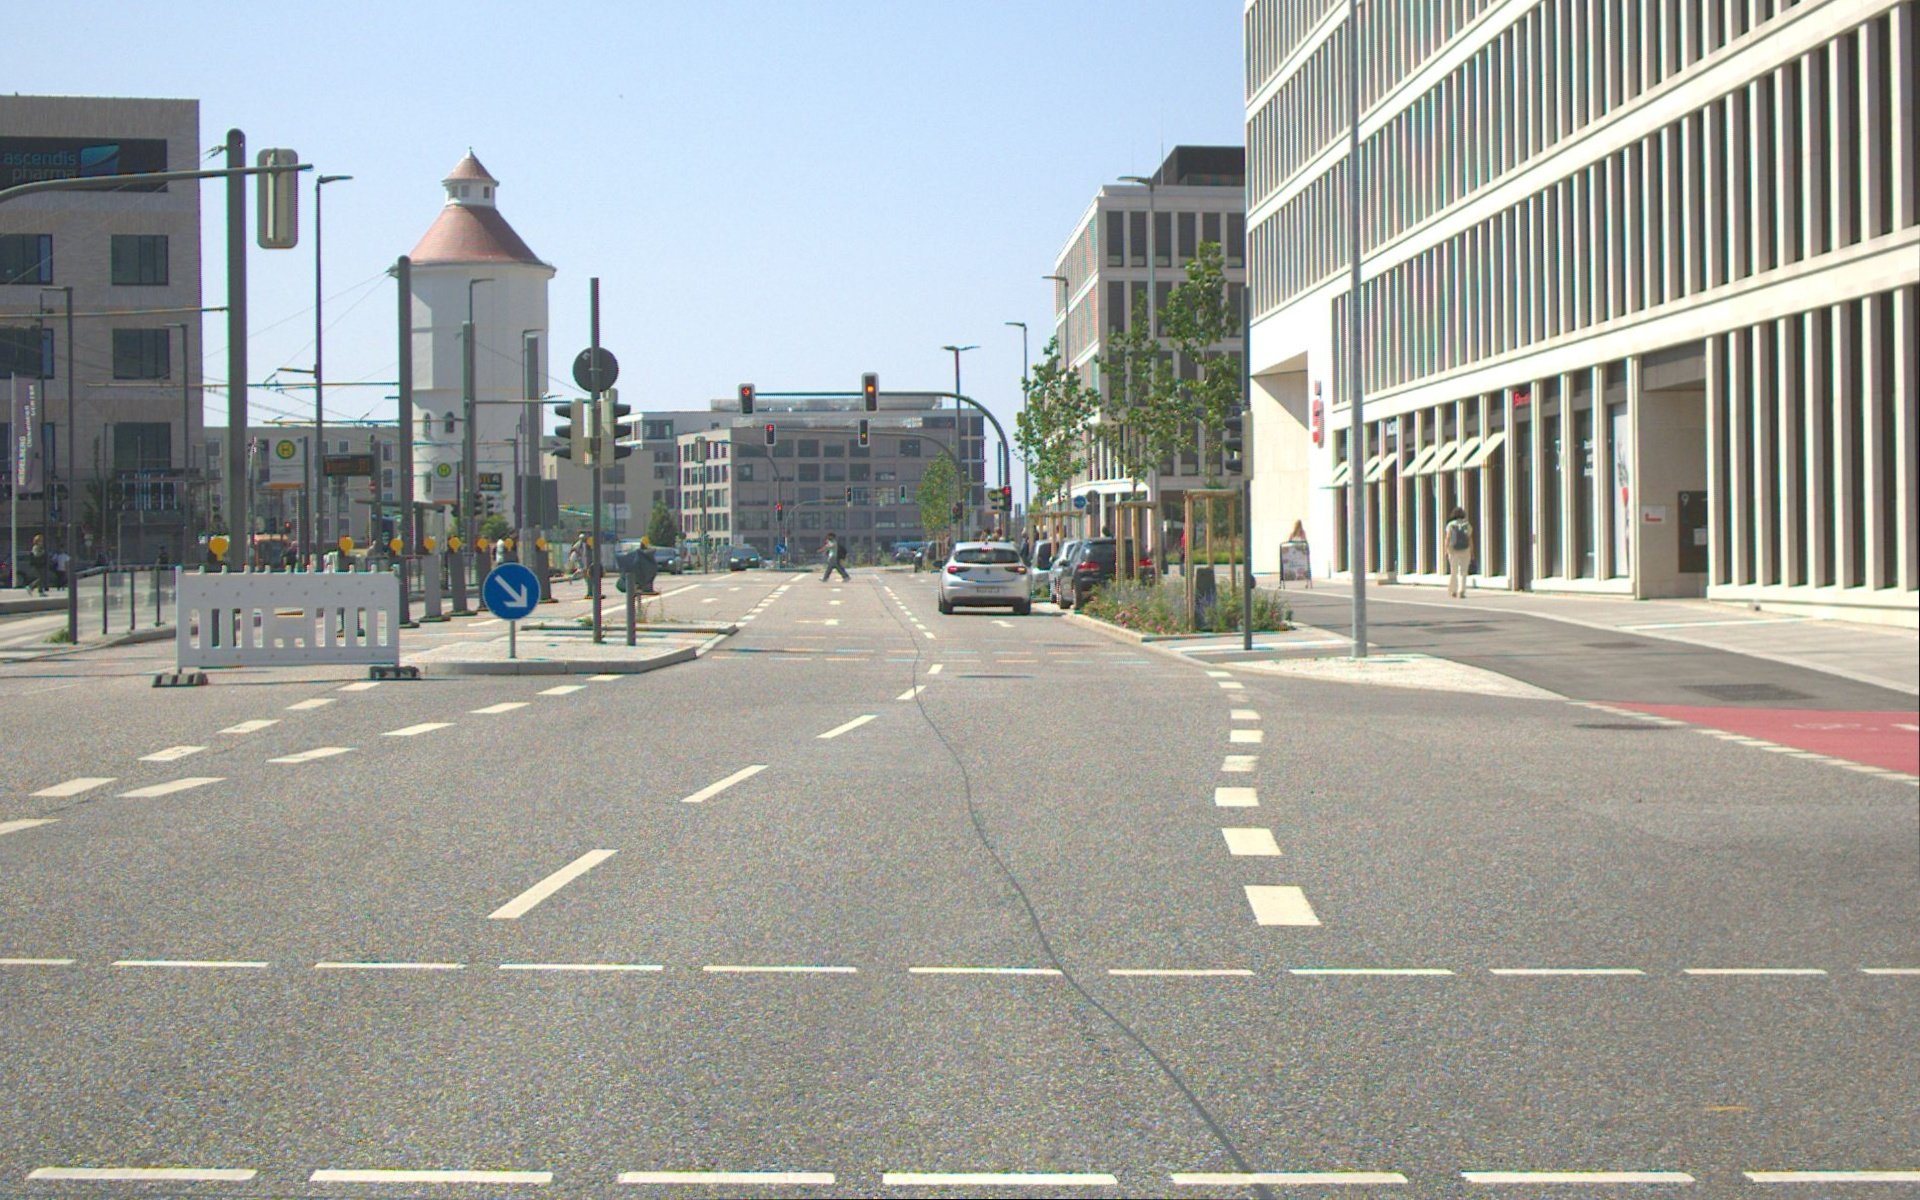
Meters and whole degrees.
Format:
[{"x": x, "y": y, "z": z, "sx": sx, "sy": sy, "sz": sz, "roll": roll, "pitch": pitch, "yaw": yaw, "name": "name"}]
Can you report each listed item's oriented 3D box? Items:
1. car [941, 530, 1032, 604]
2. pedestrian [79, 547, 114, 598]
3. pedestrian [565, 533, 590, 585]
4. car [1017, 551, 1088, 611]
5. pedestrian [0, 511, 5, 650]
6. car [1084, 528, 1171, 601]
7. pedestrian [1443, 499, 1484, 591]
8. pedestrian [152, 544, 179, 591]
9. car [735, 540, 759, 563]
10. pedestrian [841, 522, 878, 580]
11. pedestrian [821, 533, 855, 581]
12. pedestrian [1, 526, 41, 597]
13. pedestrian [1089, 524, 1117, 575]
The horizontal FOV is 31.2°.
[{"x": 0.523, "y": -0.647, "z": 69.367, "sx": 1.771, "sy": 1.390, "sz": 3.532, "roll": 1, "pitch": 0, "yaw": 0, "name": "car"}, {"x": -32.342, "y": -1.023, "z": 128.781, "sx": 0.888, "sy": 1.884, "sz": 0.983, "roll": 0, "pitch": 1, "yaw": 18, "name": "pedestrian"}, {"x": -12.912, "y": -1.378, "z": 116.060, "sx": 0.766, "sy": 1.728, "sz": 0.692, "roll": -1, "pitch": 1, "yaw": -1, "name": "pedestrian"}, {"x": 2.317, "y": -0.494, "z": 86.523, "sx": 1.556, "sy": 1.467, "sz": 3.470, "roll": -1, "pitch": 1, "yaw": -2, "name": "car"}, {"x": -12.867, "y": -0.254, "z": 44.743, "sx": 0.653, "sy": 1.827, "sz": 0.661, "roll": 1, "pitch": 1, "yaw": 3, "name": "pedestrian"}, {"x": 3.460, "y": -0.725, "z": 71.403, "sx": 1.736, "sy": 1.469, "sz": 3.980, "roll": 0, "pitch": 0, "yaw": 2, "name": "car"}, {"x": 9.601, "y": -1.057, "z": 65.572, "sx": 0.627, "sy": 1.736, "sz": 0.814, "roll": -1, "pitch": 1, "yaw": -2, "name": "pedestrian"}, {"x": -26.632, "y": -1.094, "z": 115.206, "sx": 0.711, "sy": 1.566, "sz": 0.891, "roll": -1, "pitch": 1, "yaw": -2, "name": "pedestrian"}, {"x": -14.239, "y": -3.246, "z": 229.969, "sx": 1.586, "sy": 1.525, "sz": 3.693, "roll": 0, "pitch": 0, "yaw": -3, "name": "car"}, {"x": -3.524, "y": -1.700, "z": 120.049, "sx": 1.020, "sy": 2.007, "sz": 0.955, "roll": -1, "pitch": 1, "yaw": -20, "name": "pedestrian"}, {"x": -4.219, "y": -1.488, "z": 118.852, "sx": 0.893, "sy": 1.668, "sz": 1.013, "roll": -1, "pitch": 1, "yaw": -20, "name": "pedestrian"}, {"x": -24.251, "y": -1.002, "z": 88.789, "sx": 0.811, "sy": 1.814, "sz": 0.825, "roll": 1, "pitch": 1, "yaw": -1, "name": "pedestrian"}, {"x": 4.619, "y": -1.632, "z": 111.230, "sx": 0.767, "sy": 1.614, "sz": 0.691, "roll": 0, "pitch": 1, "yaw": 15, "name": "pedestrian"}]
